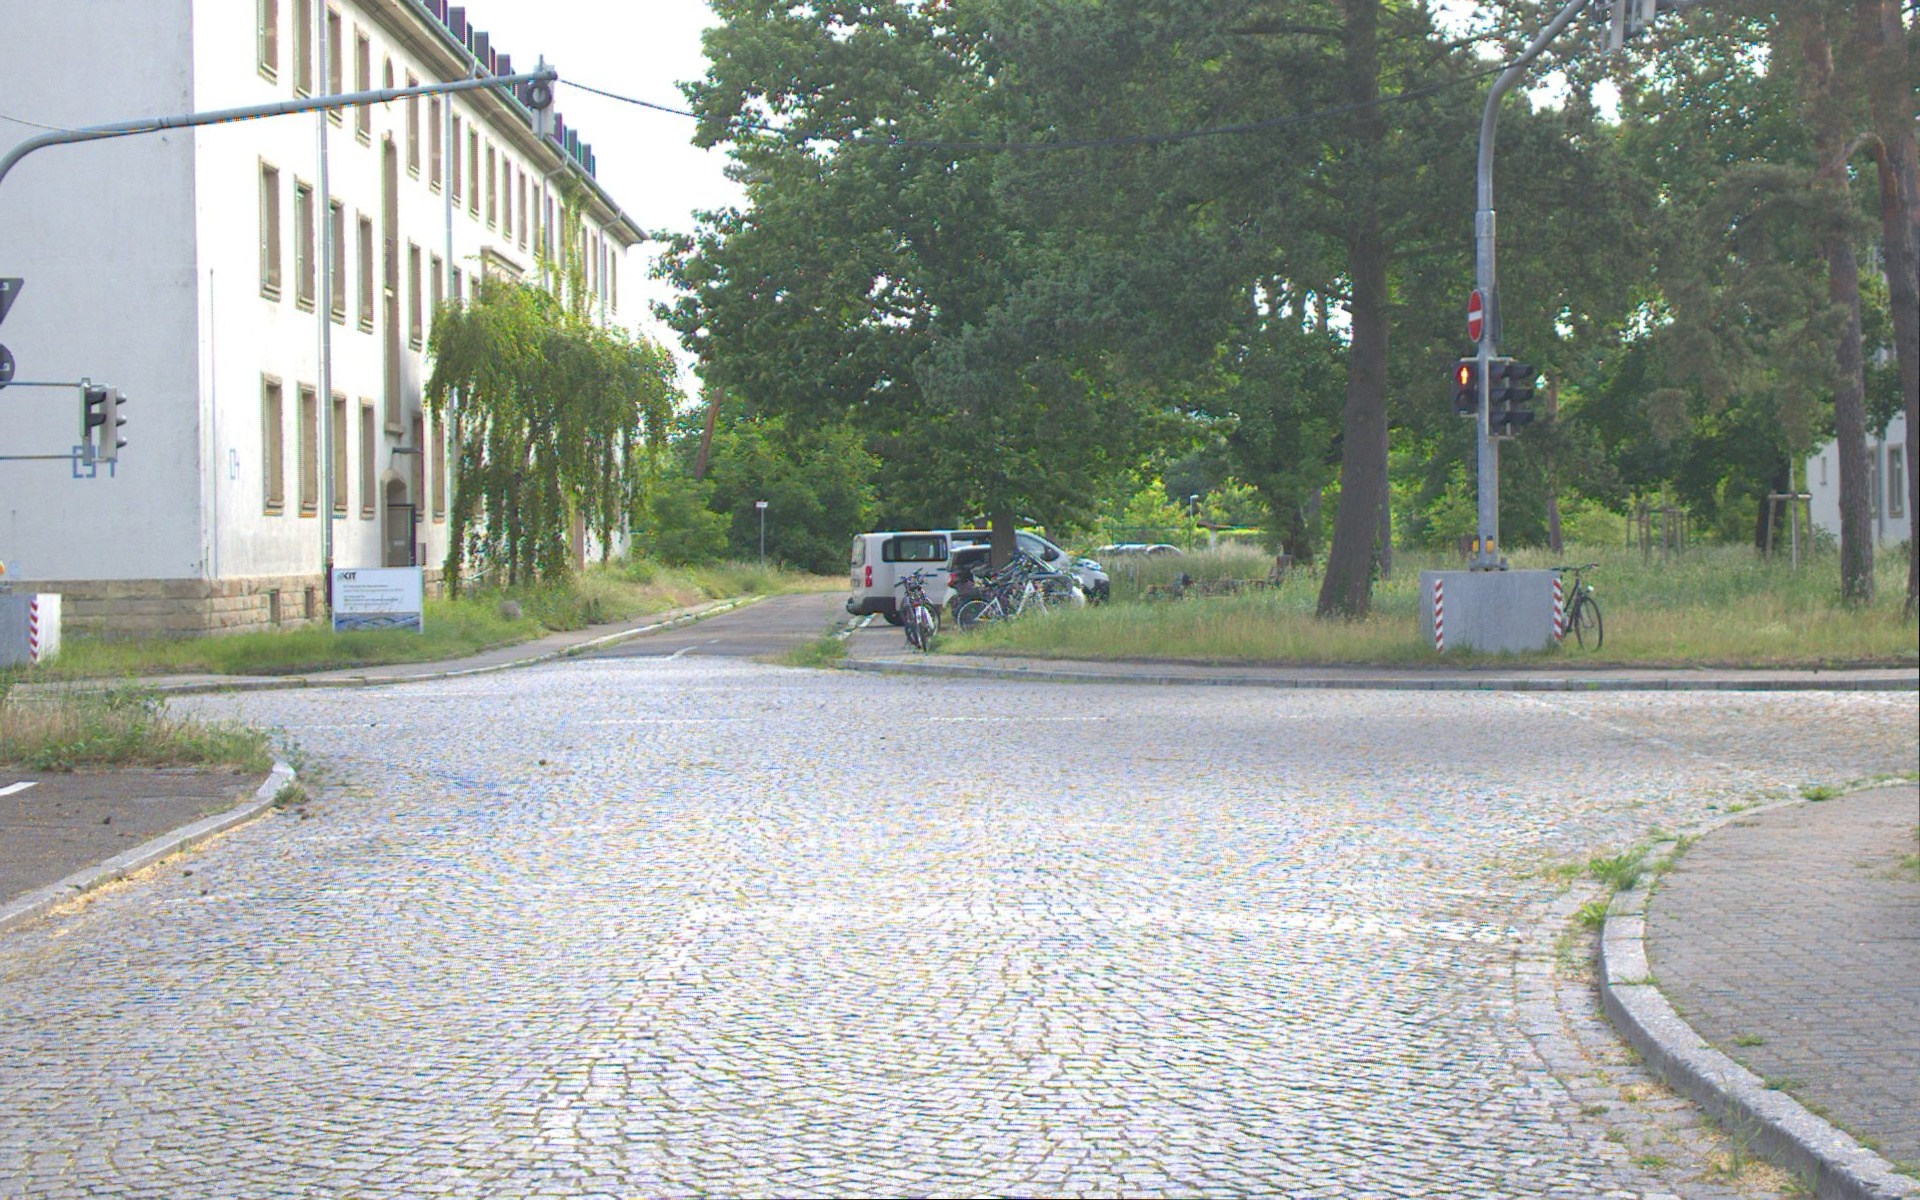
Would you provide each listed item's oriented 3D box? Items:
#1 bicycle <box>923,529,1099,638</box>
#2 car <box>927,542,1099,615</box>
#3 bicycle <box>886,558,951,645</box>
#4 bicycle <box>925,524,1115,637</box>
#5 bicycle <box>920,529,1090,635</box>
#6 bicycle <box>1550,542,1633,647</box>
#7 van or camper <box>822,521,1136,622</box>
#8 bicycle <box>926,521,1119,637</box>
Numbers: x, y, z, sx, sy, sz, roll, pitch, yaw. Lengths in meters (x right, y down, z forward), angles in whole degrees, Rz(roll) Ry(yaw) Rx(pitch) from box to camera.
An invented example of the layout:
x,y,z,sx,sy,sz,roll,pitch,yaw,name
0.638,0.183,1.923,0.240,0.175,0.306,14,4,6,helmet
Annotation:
x,y,z,sx,sy,sz,roll,pitch,yaw,name
0.849,-0.275,56.442,2.776,1.688,1.120,2,1,4,bicycle
1.010,-0.427,66.074,3.137,1.349,1.620,-1,1,-5,car
-0.559,0.000,47.416,0.725,1.104,2.462,-5,1,1,bicycle
0.907,-0.312,52.875,2.775,1.688,1.120,-1,1,-7,bicycle
0.763,-0.311,57.781,2.775,1.688,1.120,2,1,2,bicycle
7.299,-0.075,39.834,0.724,1.165,2.736,1,1,6,bicycle
0.375,-0.599,69.655,6.030,1.942,2.001,-1,1,-13,van or camper
0.934,-0.319,51.680,2.775,1.688,1.120,-1,1,-5,bicycle
